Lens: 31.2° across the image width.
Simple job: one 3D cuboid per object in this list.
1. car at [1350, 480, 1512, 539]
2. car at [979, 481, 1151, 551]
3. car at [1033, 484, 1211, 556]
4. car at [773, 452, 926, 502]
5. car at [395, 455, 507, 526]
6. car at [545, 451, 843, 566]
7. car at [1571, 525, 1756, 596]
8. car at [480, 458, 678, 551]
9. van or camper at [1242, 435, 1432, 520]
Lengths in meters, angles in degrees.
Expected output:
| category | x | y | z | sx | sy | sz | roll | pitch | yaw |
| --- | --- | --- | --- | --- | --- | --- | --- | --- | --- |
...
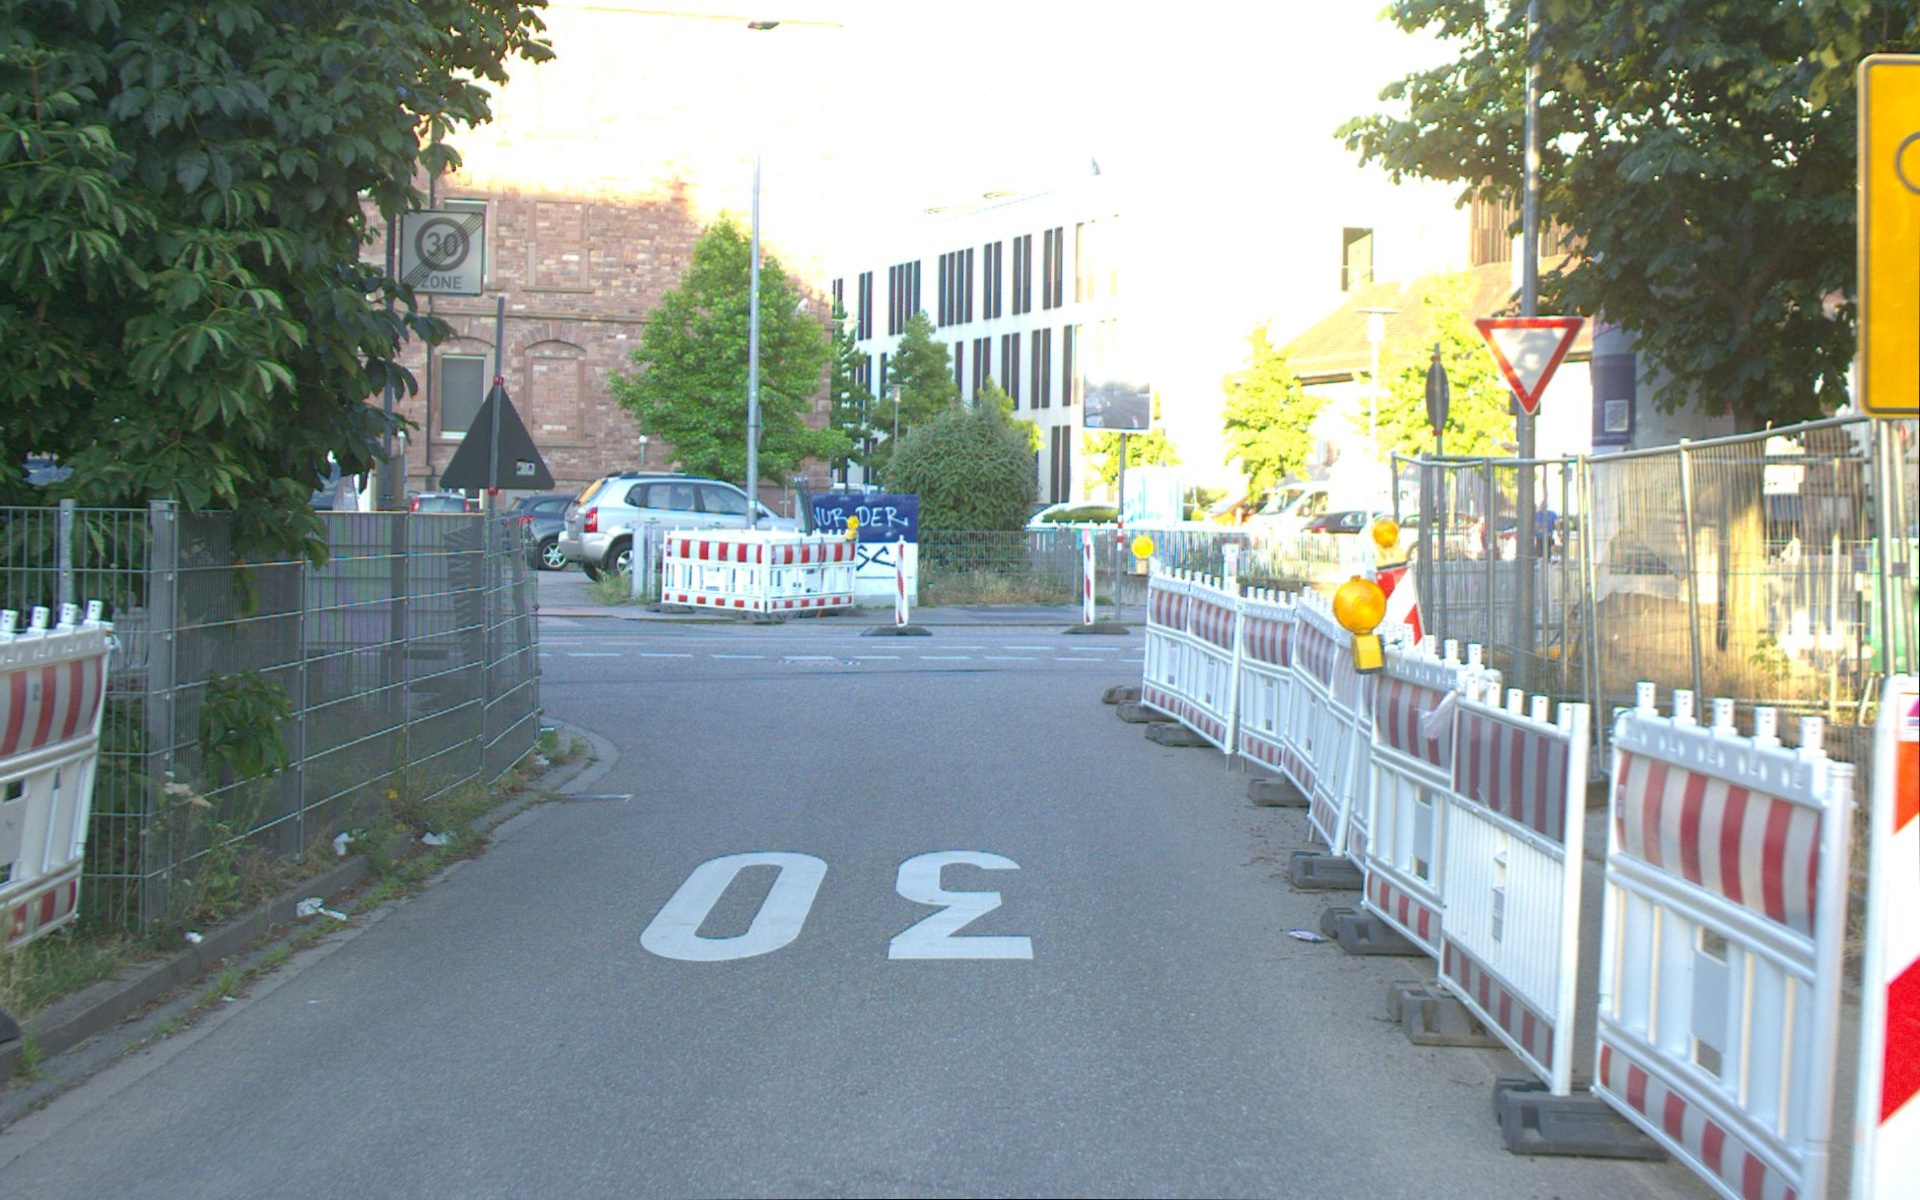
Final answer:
| category | x | y | z | sx | sy | sz | roll | pitch | yaw |
| --- | --- | --- | --- | --- | --- | --- | --- | --- | --- |
| car | 12.029 | -2.302 | 87.818 | 3.739 | 1.440 | 1.687 | 0 | 1 | -20 |
| car | 2.528 | -2.021 | 82.674 | 3.739 | 1.597 | 1.687 | 0 | 1 | -20 |
| car | 3.765 | -1.846 | 79.846 | 3.739 | 1.597 | 1.687 | 0 | 1 | -20 |
| car | -3.183 | -3.532 | 98.687 | 3.986 | 1.308 | 1.878 | 0 | 3 | -18 |
| car | -11.454 | -2.469 | 77.173 | 1.896 | 1.532 | 4.181 | 0 | 2 | -17 |
| car | -4.089 | -1.401 | 52.727 | 4.268 | 1.703 | 1.703 | 0 | 2 | -18 |
| car | 15.881 | -0.898 | 77.624 | 3.739 | 1.523 | 1.687 | 0 | 1 | -20 |
| car | -7.280 | -1.821 | 65.583 | 3.474 | 1.703 | 1.669 | 0 | 2 | -18 |
| van or camper | 10.452 | -3.378 | 95.278 | 4.961 | 2.233 | 1.687 | 0 | 1 | -20 |
